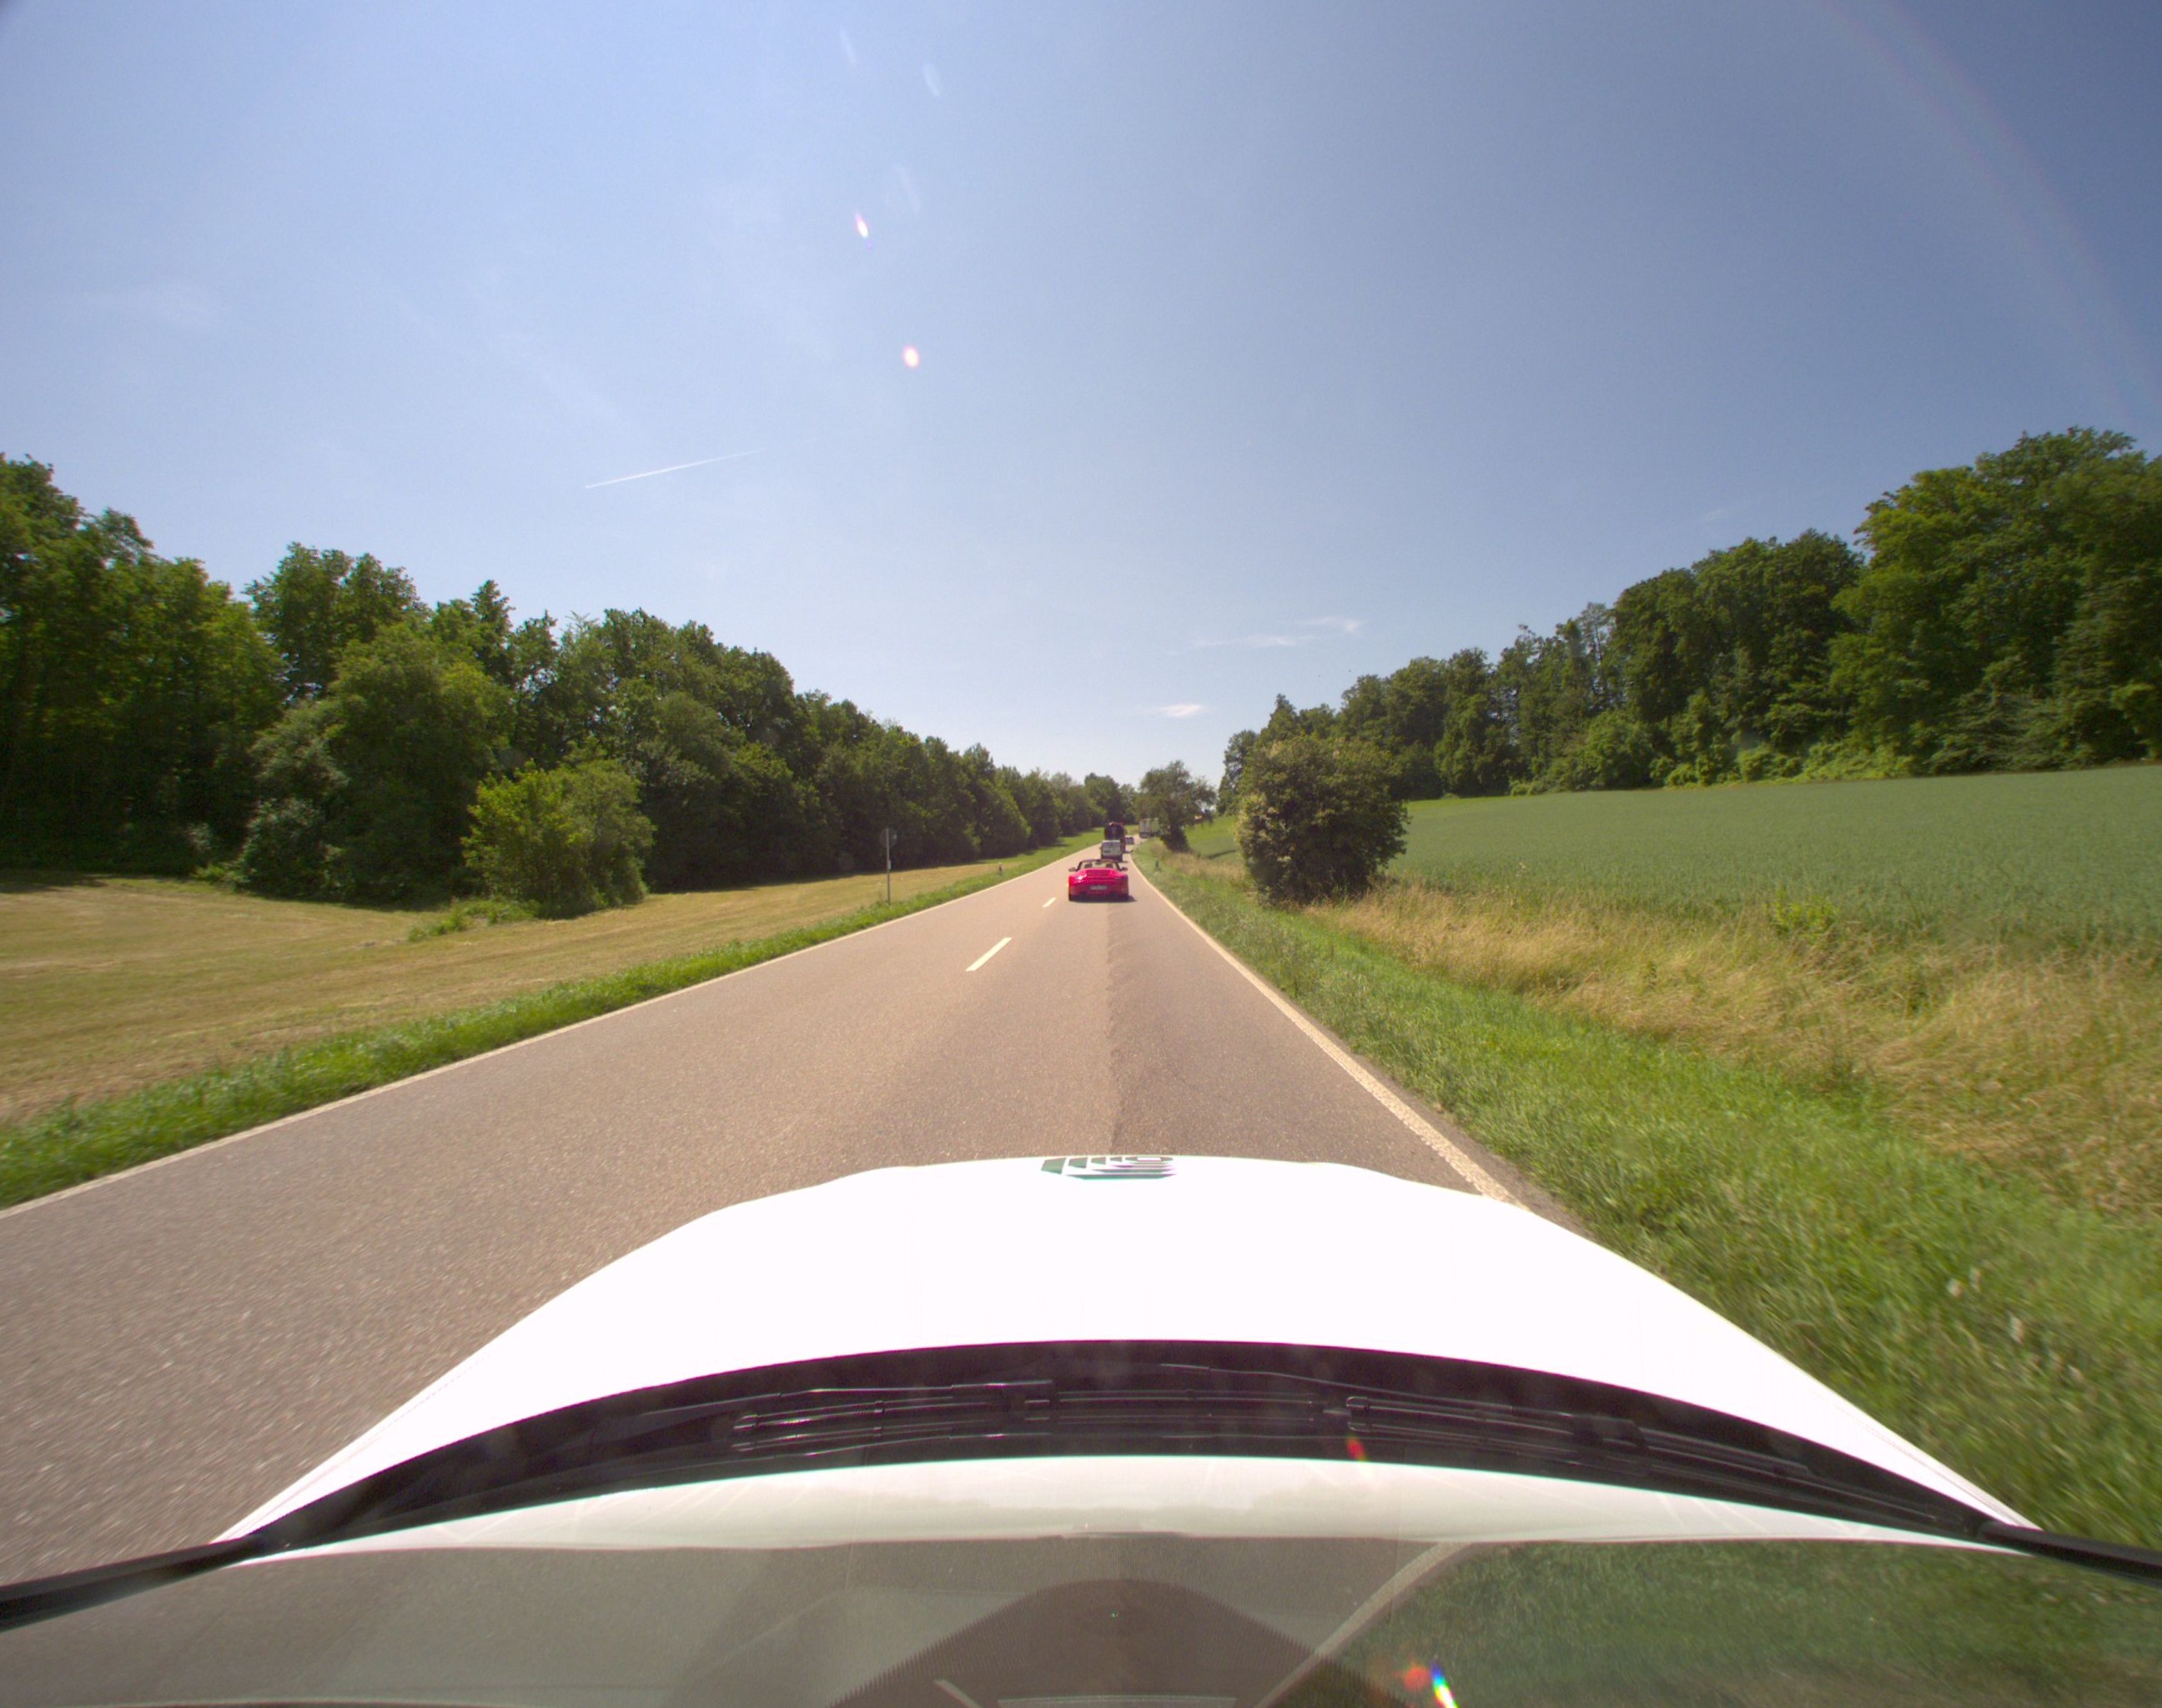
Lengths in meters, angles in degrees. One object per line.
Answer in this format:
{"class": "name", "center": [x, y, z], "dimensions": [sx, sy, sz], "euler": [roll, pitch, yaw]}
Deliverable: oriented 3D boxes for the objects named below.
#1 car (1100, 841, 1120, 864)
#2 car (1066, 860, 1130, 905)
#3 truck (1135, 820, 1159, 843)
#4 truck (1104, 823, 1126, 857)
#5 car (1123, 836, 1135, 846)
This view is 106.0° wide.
{"class": "car", "center": [2.534, -0.145, 70.678], "dimensions": [1.672, 1.900, 4.012], "euler": [-1, 1, 2]}
{"class": "car", "center": [0.579, 0.863, 26.077], "dimensions": [1.875, 1.255, 4.011], "euler": [-1, 0, 2]}
{"class": "truck", "center": [14.862, -5.150, 182.258], "dimensions": [3.700, 4.659, 12.074], "euler": [-1, 3, 12]}
{"class": "truck", "center": [4.366, -1.850, 106.972], "dimensions": [2.395, 4.049, 12.554], "euler": [-3, 1, 1]}
{"class": "car", "center": [8.691, -2.326, 147.240], "dimensions": [1.821, 1.513, 4.199], "euler": [-2, 3, 6]}
